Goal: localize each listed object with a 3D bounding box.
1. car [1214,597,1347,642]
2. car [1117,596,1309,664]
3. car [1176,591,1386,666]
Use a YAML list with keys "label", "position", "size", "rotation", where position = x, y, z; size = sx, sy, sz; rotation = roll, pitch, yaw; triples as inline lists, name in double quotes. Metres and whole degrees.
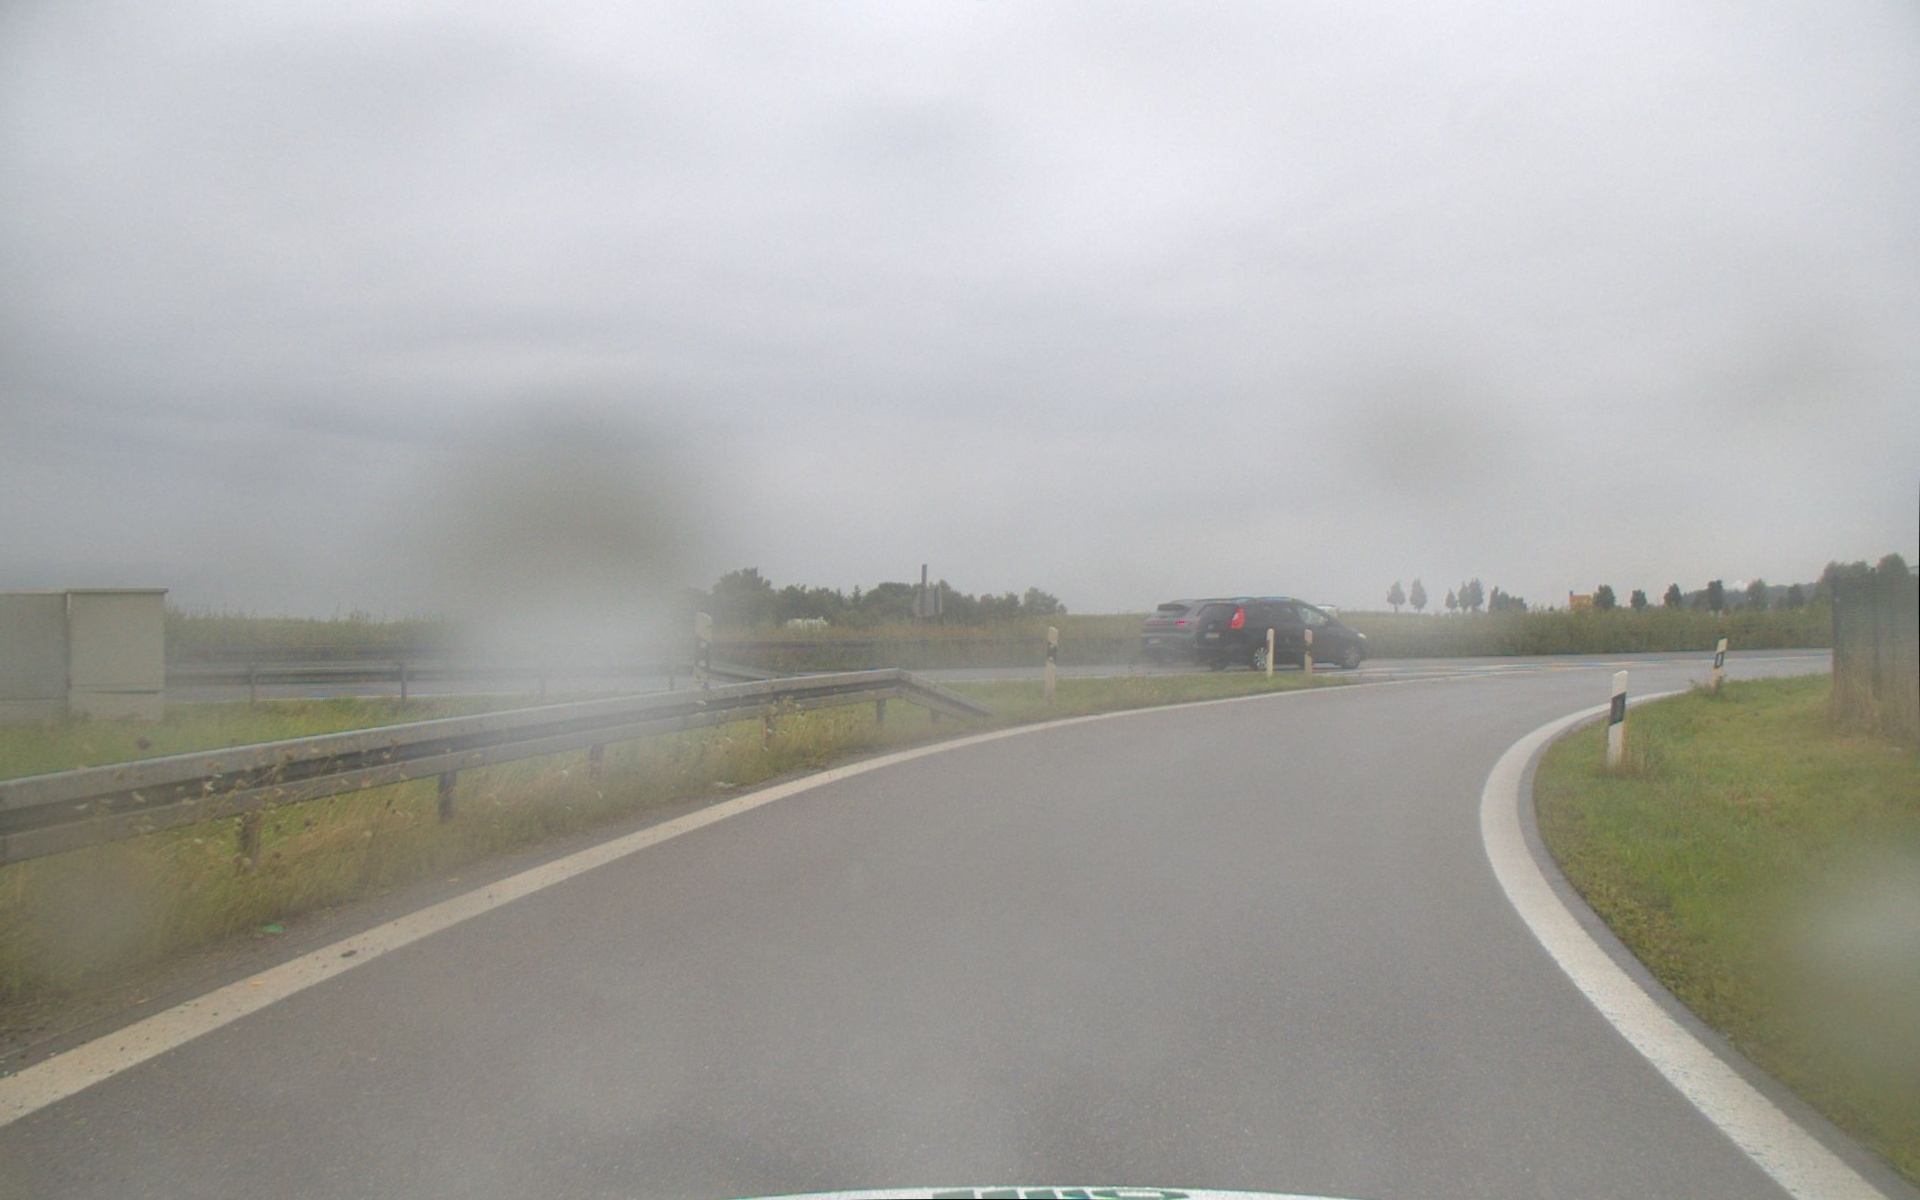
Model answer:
- label: "car"
  position: [11.580, 0.681, 59.630]
  size: [4.468, 1.566, 2.091]
  rotation: [0, 0, -30]
- label: "car"
  position: [6.584, 0.759, 42.922]
  size: [4.730, 1.665, 2.040]
  rotation: [0, -1, -29]
- label: "car"
  position: [7.477, 0.655, 38.434]
  size: [4.530, 1.665, 2.131]
  rotation: [1, -1, -29]
